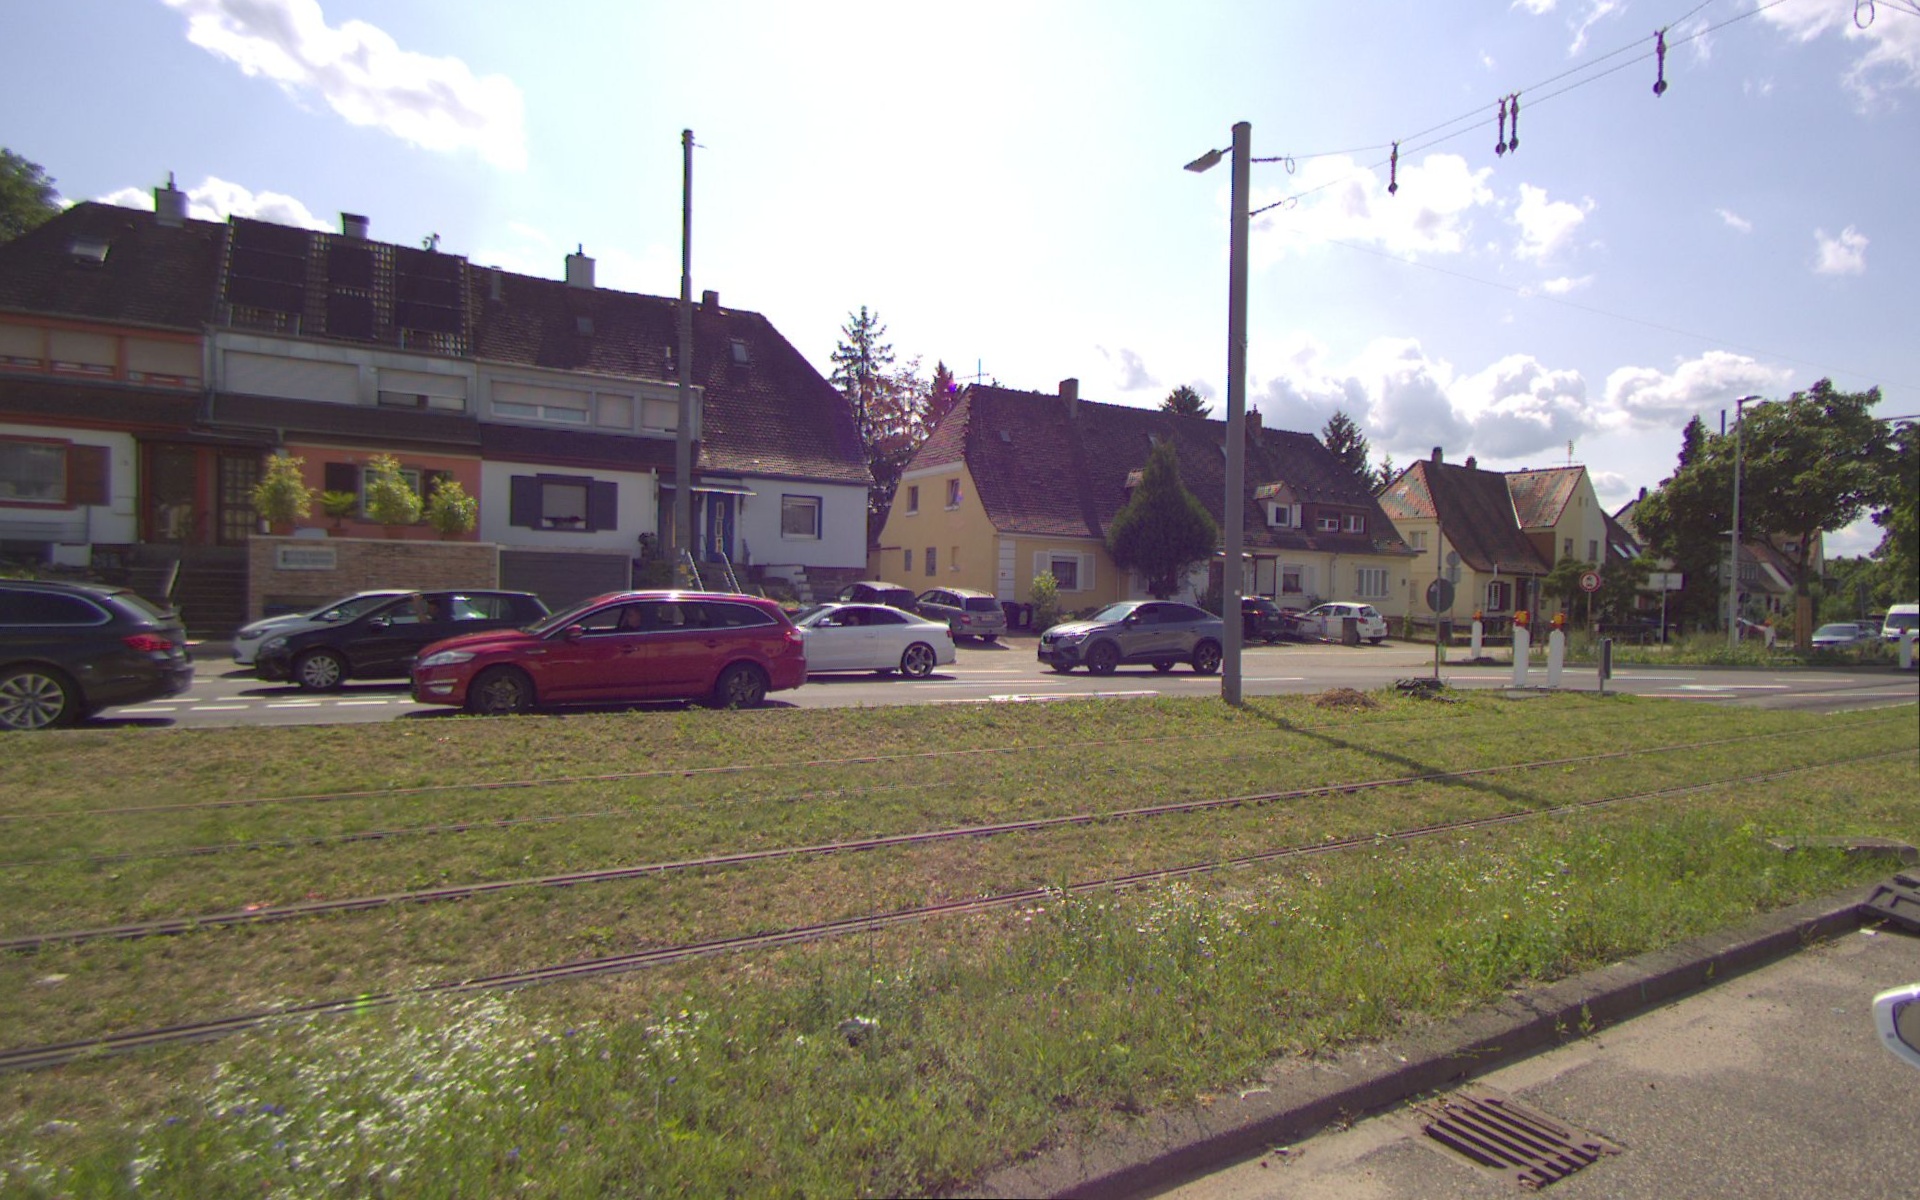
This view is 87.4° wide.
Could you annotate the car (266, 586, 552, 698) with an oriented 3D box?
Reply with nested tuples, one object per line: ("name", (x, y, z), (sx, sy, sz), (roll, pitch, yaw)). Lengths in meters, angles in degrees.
("car", (-8.284, 0.594, 15.318), (3.612, 1.514, 1.834), (1, 0, -30))

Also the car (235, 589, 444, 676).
("car", (-11.026, 0.565, 18.032), (3.051, 1.438, 1.559), (1, 0, -30))

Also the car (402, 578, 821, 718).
("car", (-4.370, 0.556, 12.836), (4.799, 1.514, 1.834), (1, 0, -30))

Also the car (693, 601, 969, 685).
("car", (-2.343, 0.758, 18.566), (4.719, 1.361, 1.835), (1, 0, -29))

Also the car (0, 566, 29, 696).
("car", (-14.594, 0.357, 12.231), (4.455, 1.691, 1.833), (1, 0, -32))

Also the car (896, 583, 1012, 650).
("car", (-0.252, 0.451, 30.022), (1.586, 1.512, 3.930), (1, 5, -31))

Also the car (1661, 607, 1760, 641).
("car", (42.798, 1.344, 57.368), (2.079, 1.800, 4.083), (1, 0, -33))

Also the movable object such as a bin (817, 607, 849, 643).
("movable object such as a bin", (-3.425, 0.666, 27.088), (0.599, 0.946, 0.690), (1, 0, -32))

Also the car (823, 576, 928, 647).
("car", (-2.457, 0.289, 28.518), (1.586, 1.616, 3.365), (1, 5, -31))

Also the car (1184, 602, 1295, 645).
("car", (10.193, 0.830, 36.840), (1.917, 1.423, 3.601), (1, 0, -31))

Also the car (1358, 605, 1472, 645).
("car", (18.363, 0.976, 40.684), (1.684, 1.417, 3.967), (0, 2, -30))

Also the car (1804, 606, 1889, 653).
("car", (36.822, 1.201, 41.704), (4.088, 1.800, 2.076), (1, 0, -41))

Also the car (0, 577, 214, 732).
("car", (-10.232, 0.472, 9.544), (4.861, 1.432, 1.833), (1, 0, -32))

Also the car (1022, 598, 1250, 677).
("car", (3.838, 0.790, 21.856), (4.674, 1.555, 1.838), (1, 0, -25))

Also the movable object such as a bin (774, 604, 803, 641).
("movable object such as a bin", (-4.518, 0.598, 26.459), (0.511, 0.946, 0.677), (1, 0, -31))

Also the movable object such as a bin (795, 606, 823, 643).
("movable object such as a bin", (-4.015, 0.650, 26.750), (0.511, 0.946, 0.677), (1, 0, -31))

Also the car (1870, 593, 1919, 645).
("car", (46.199, 0.922, 48.788), (4.841, 2.369, 2.386), (1, 0, -41))

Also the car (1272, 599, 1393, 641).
("car", (14.379, 0.751, 38.976), (1.968, 1.486, 4.088), (1, 0, -30))
